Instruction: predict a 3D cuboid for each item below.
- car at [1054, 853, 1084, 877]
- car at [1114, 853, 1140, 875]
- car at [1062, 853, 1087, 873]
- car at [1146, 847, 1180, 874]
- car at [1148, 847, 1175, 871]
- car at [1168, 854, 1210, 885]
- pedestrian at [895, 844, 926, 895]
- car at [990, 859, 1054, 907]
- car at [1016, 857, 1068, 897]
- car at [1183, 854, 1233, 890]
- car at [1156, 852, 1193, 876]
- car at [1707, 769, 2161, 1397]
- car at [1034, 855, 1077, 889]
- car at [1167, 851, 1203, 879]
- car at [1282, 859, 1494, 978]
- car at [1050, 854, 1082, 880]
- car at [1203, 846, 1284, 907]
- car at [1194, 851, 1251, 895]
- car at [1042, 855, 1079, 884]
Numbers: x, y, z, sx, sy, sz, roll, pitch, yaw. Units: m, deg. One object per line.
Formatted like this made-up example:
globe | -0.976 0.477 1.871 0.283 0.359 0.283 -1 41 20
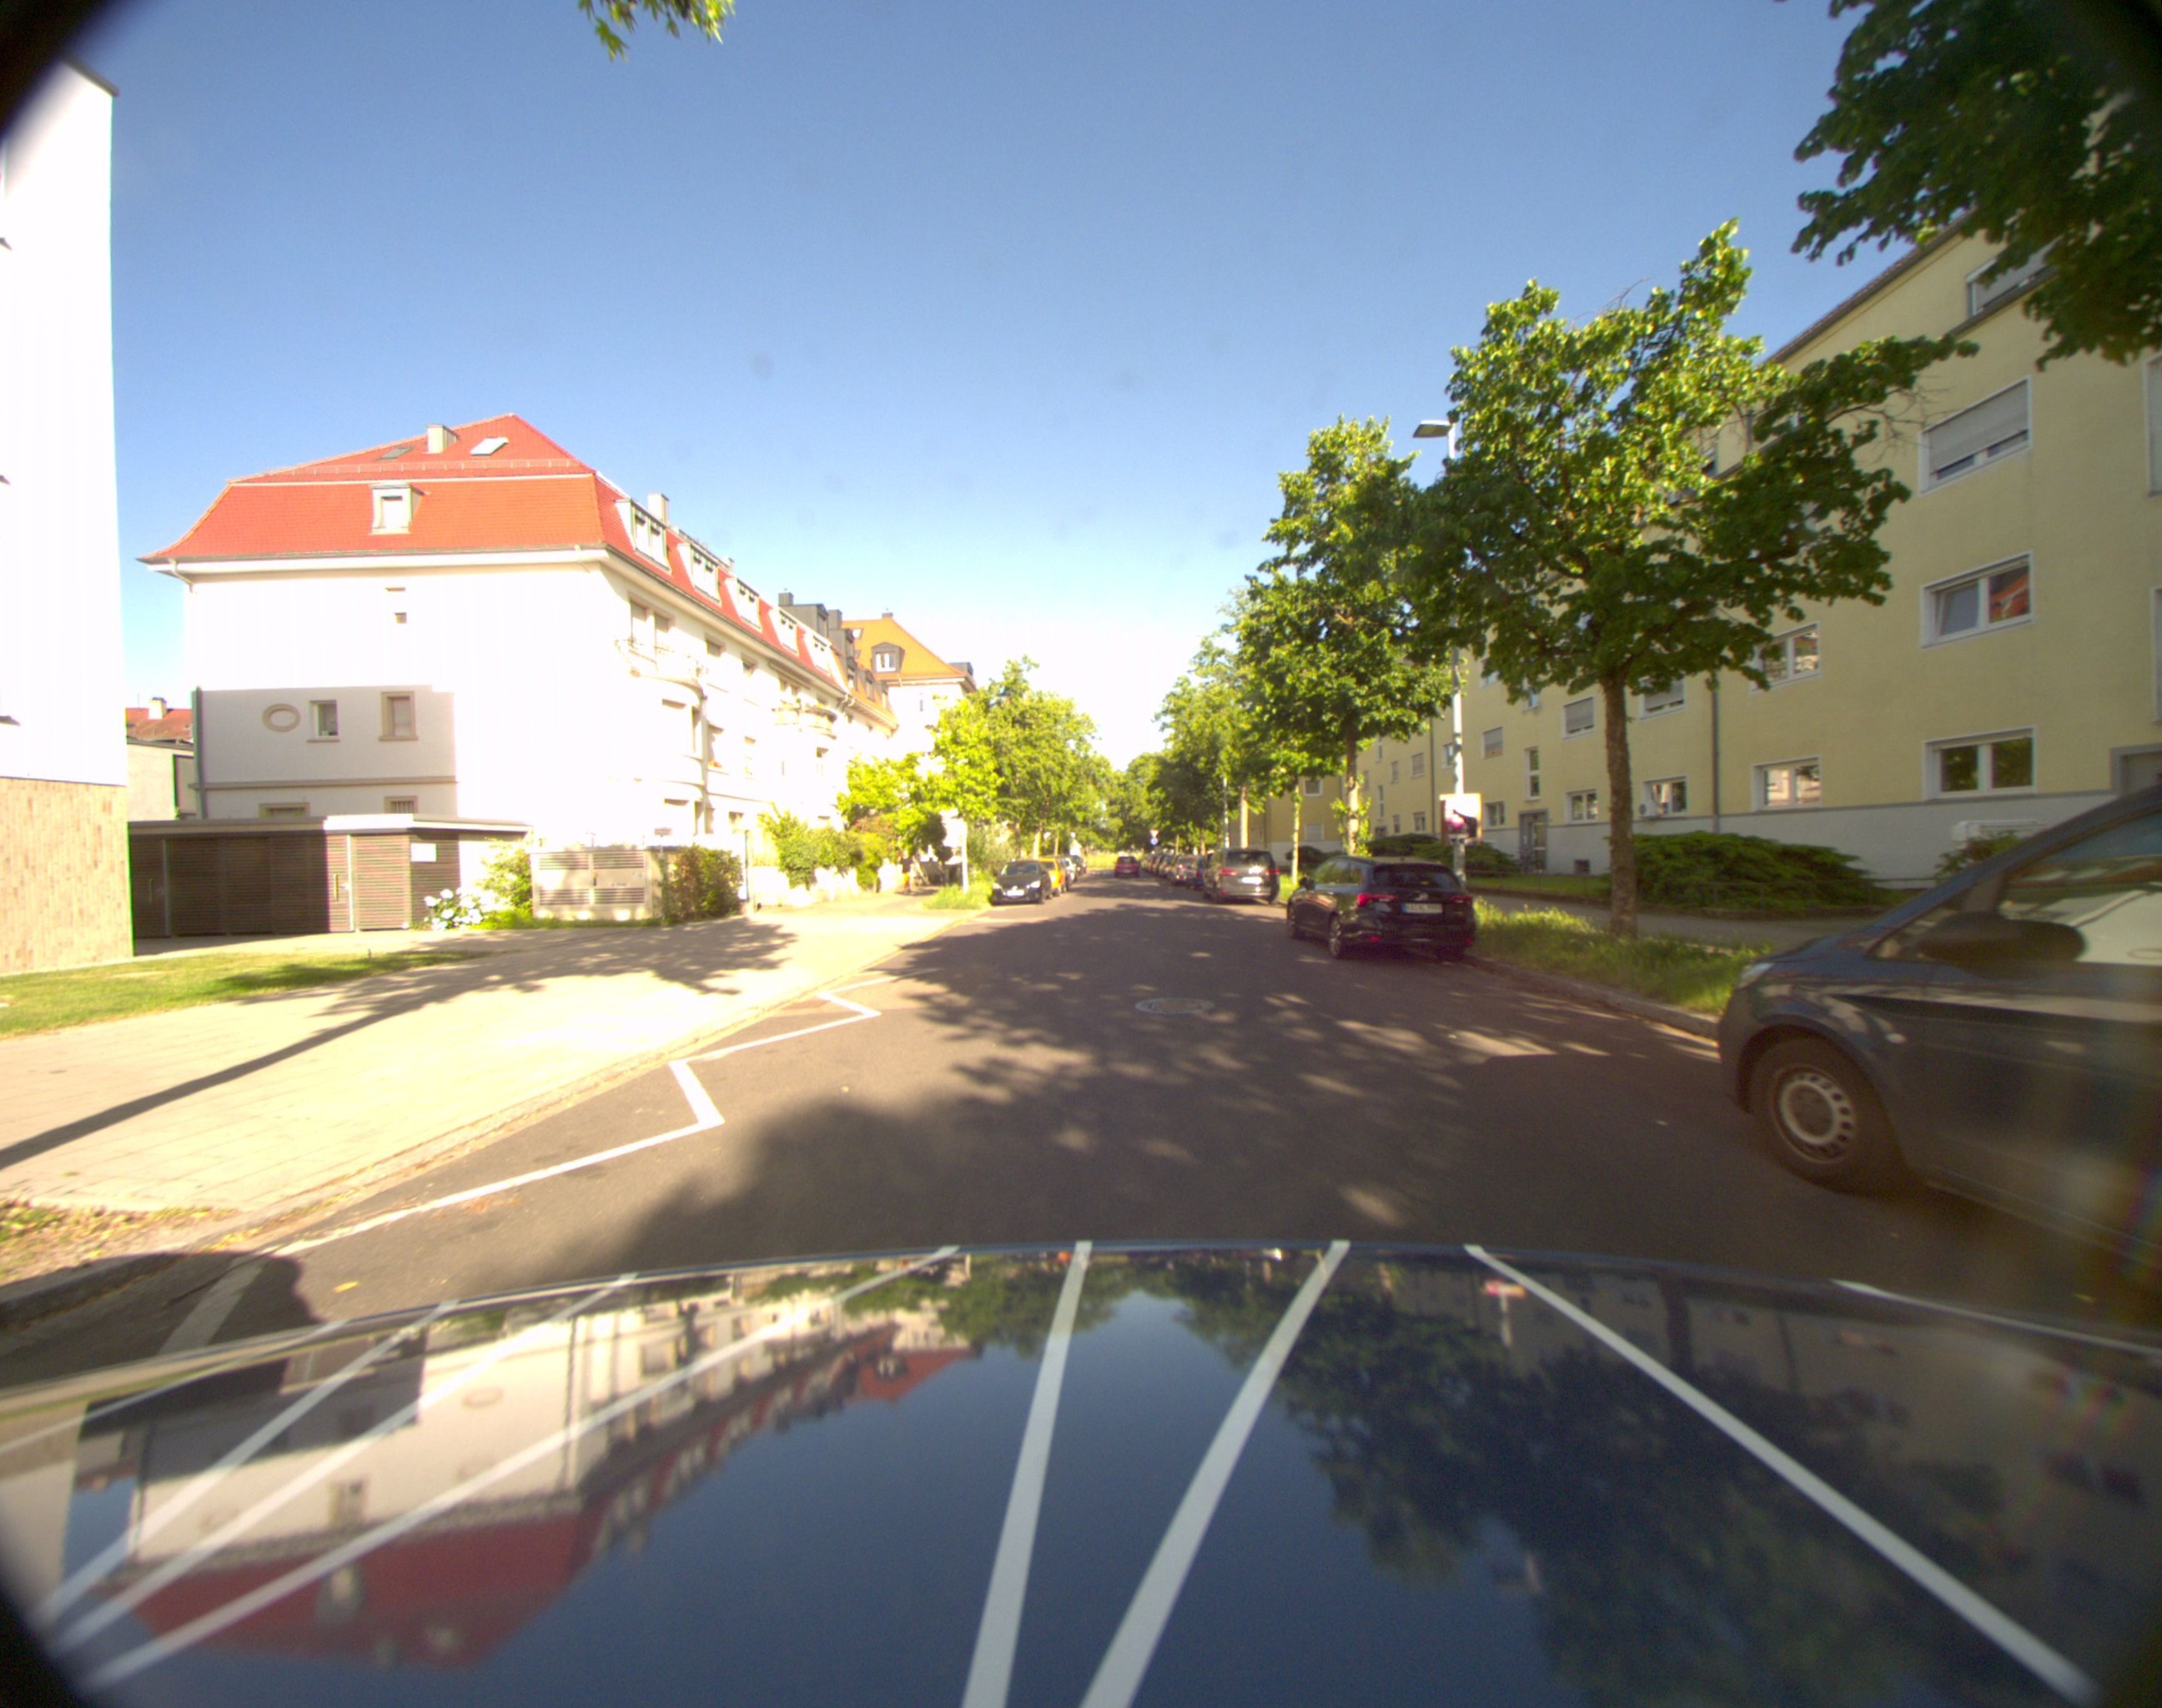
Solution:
car | -0.747 0.693 50.019 1.670 1.456 3.536 -1 0 3
car | 3.085 0.646 51.247 1.665 1.456 3.448 -1 0 3
car | -0.476 0.706 59.112 1.670 1.456 3.536 -1 0 3
car | 5.803 0.436 54.243 1.891 1.797 3.914 -2 0 -2
car | 6.239 0.391 59.122 1.713 1.752 3.712 -2 1 1
car | 5.271 0.725 37.336 1.605 1.382 3.812 -2 0 2
pedestrian | -6.762 0.601 30.167 0.907 2.002 1.006 -1 1 2
car | -1.931 0.929 25.728 1.670 1.456 3.536 -1 0 3
car | -1.496 0.896 30.496 1.670 1.456 3.536 -1 0 3
car | 5.436 0.743 32.842 1.605 1.382 3.812 -2 0 2
car | 5.969 0.614 48.780 1.805 1.470 3.999 -2 0 -1
car | 4.026 0.665 1.441 1.798 1.839 4.867 -1 0 2
car | -1.162 0.813 35.963 1.670 1.456 3.674 -1 0 3
car | 5.864 0.599 43.017 1.605 1.464 3.812 -2 0 2
car | 4.517 0.845 11.878 1.779 1.462 4.064 1 0 2
car | -0.862 0.744 45.816 1.670 1.456 3.536 -1 0 3
car | 4.935 0.626 23.650 1.863 1.718 4.001 0 0 3
car | 5.349 0.694 29.087 1.605 1.535 3.417 -2 0 2
car | -1.074 0.779 40.871 1.670 1.456 3.536 -1 0 3
